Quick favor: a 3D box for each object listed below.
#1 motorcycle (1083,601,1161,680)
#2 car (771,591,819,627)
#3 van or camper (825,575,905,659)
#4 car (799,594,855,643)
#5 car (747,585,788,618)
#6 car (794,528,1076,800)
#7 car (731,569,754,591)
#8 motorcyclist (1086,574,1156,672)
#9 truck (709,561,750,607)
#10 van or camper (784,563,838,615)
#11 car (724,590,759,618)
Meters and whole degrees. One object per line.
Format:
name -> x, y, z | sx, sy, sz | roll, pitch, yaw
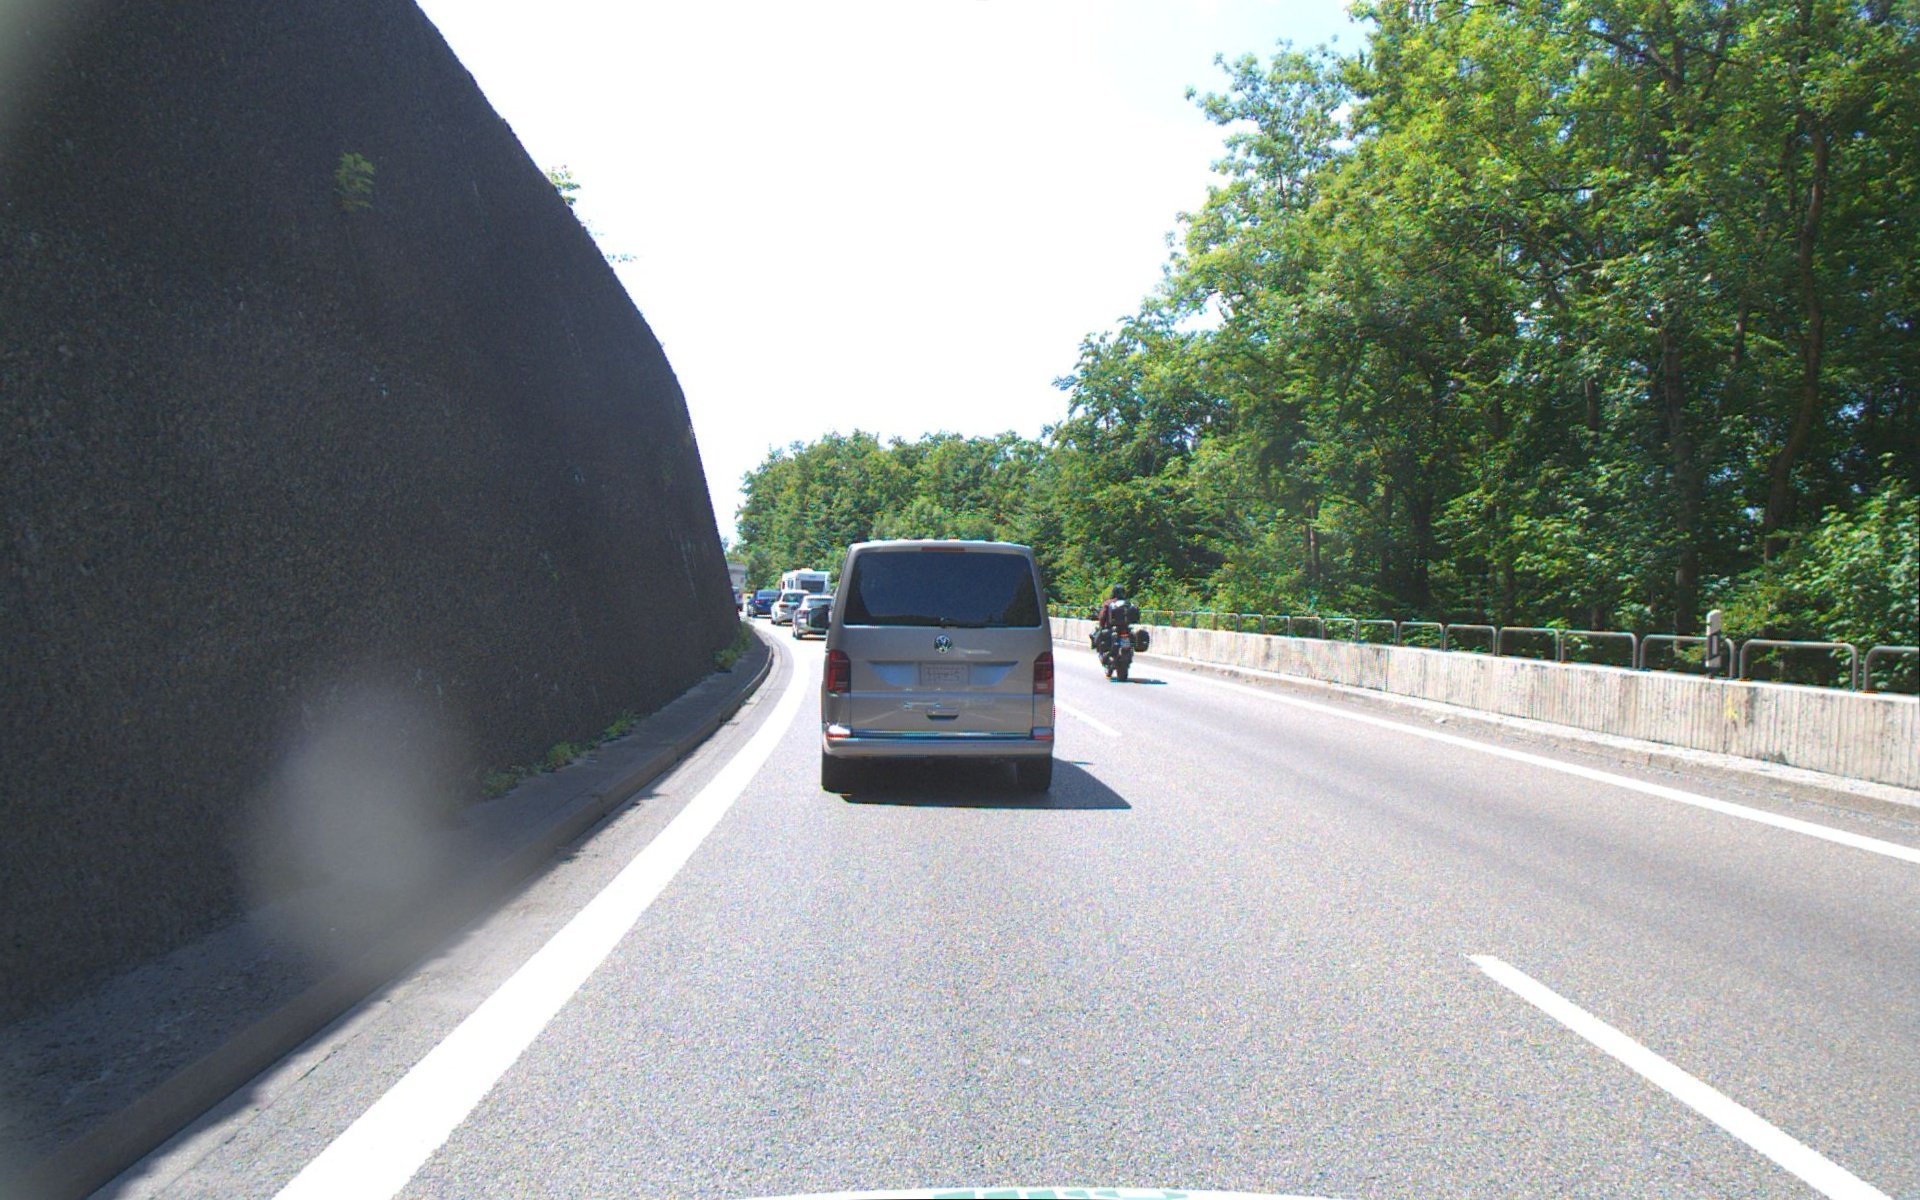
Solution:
motorcycle -> 3.108, 0.762, 32.106 | 0.954, 1.444, 2.677 | 1, 0, -6
car -> -7.328, 0.379, 73.292 | 1.829, 1.512, 3.991 | 1, 0, -10
van or camper -> -2.436, 0.409, 41.606 | 1.817, 1.976, 4.160 | 1, 0, -6
car -> -4.373, 0.590, 54.742 | 1.737, 1.498, 3.997 | 1, 0, -4
car -> -10.153, 0.057, 86.981 | 1.825, 1.648, 3.989 | 1, 0, -11
car -> -0.407, 0.475, 14.591 | 1.904, 1.965, 4.686 | 2, 0, -8
car -> -20.965, -1.883, 159.196 | 1.958, 2.049, 3.989 | 2, 0, -11
motorcyclist -> 3.099, 0.431, 31.987 | 1.040, 1.832, 1.336 | 1, 0, -7
truck -> -20.203, -1.378, 144.575 | 2.874, 3.751, 7.700 | 2, 0, -12
van or camper -> -9.402, -0.735, 103.842 | 2.558, 2.904, 6.319 | 6, 0, -11
car -> -13.553, 0.228, 102.495 | 1.958, 1.646, 3.990 | 1, 0, -11
